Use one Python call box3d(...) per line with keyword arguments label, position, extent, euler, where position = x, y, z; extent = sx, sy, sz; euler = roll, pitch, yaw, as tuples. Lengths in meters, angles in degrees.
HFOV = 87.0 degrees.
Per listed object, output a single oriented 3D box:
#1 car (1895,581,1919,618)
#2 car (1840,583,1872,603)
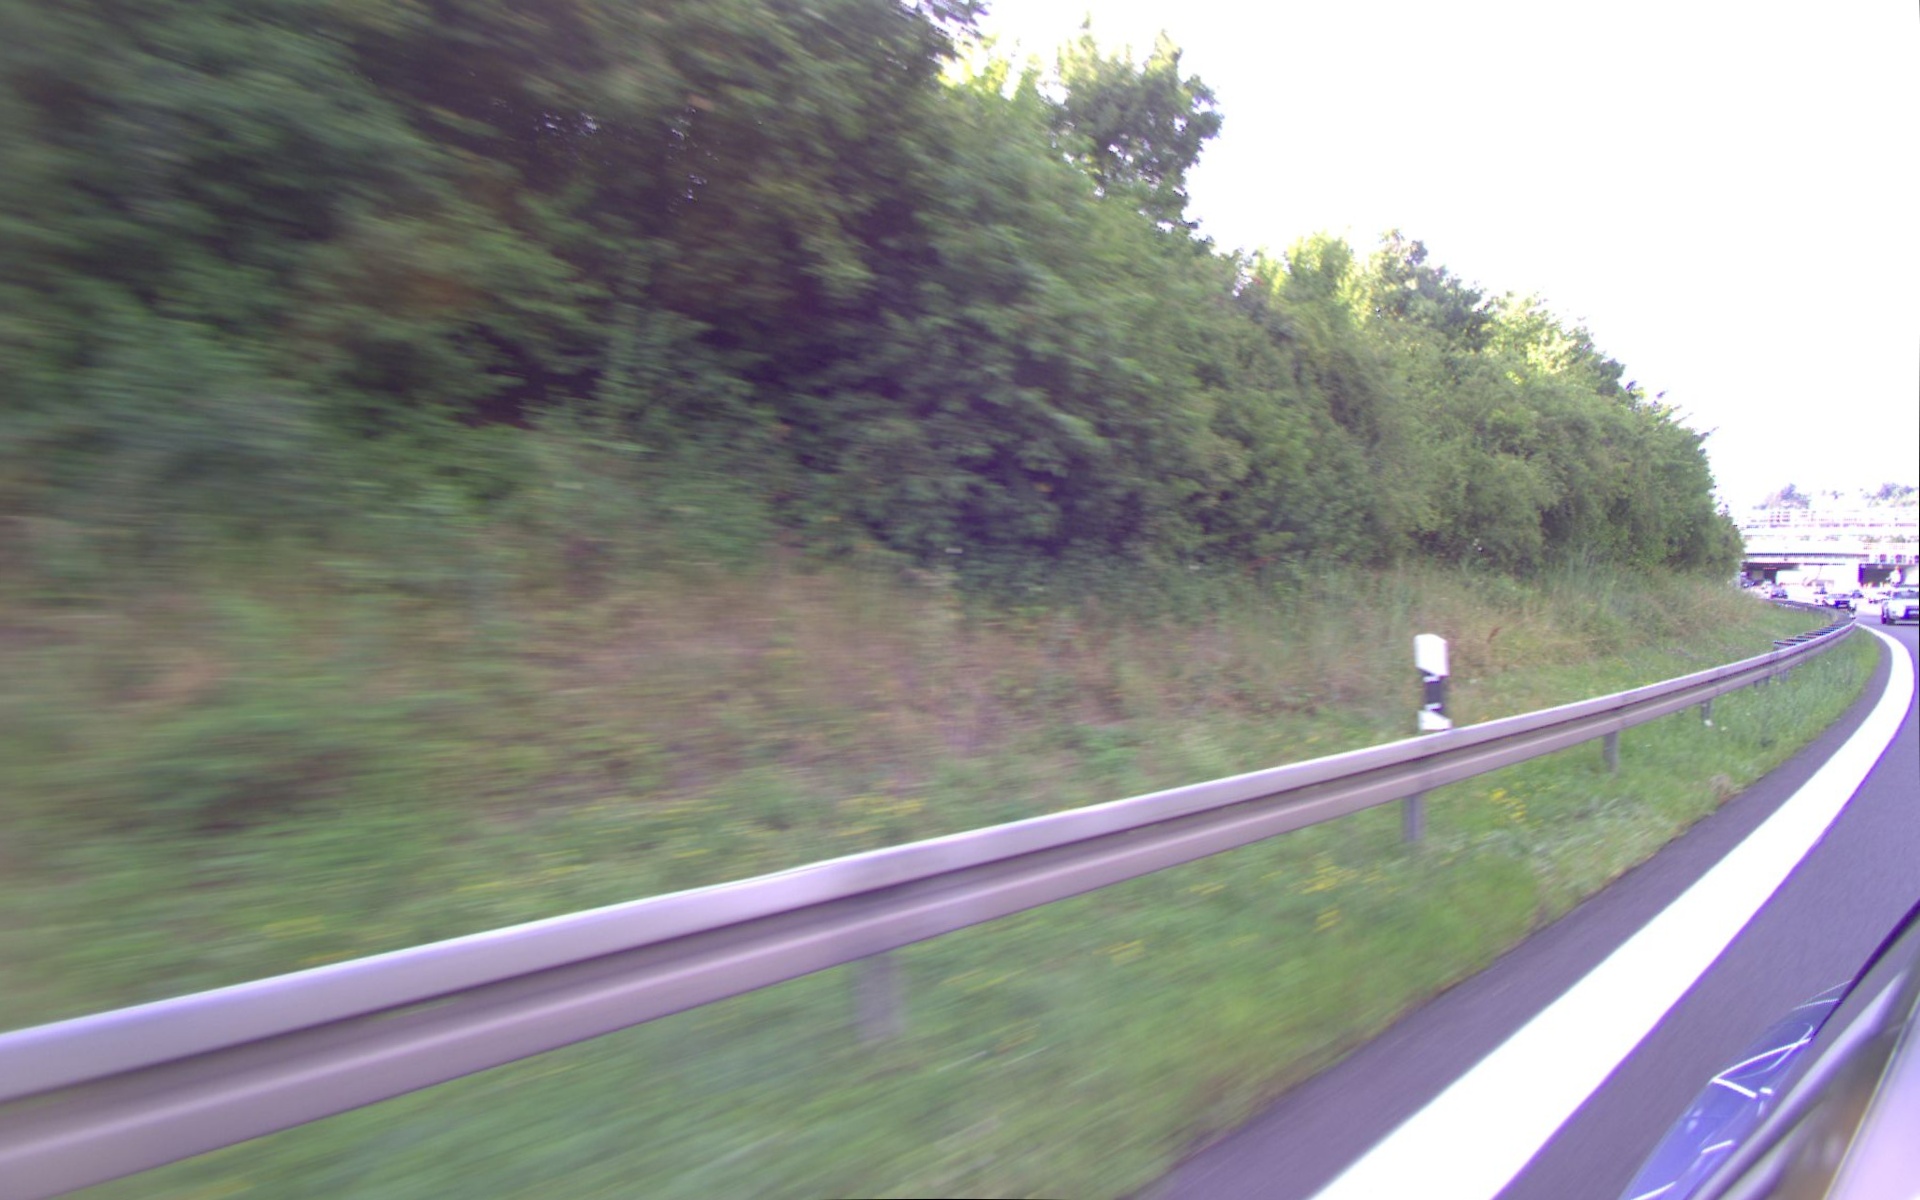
box3d(label="car", position=(45.700, -0.042, 47.974), extent=(1.899, 1.685, 3.941), euler=(1, 2, 41))
box3d(label="car", position=(68.338, -0.560, 77.226), extent=(1.613, 1.478, 3.612), euler=(0, 0, 38))
